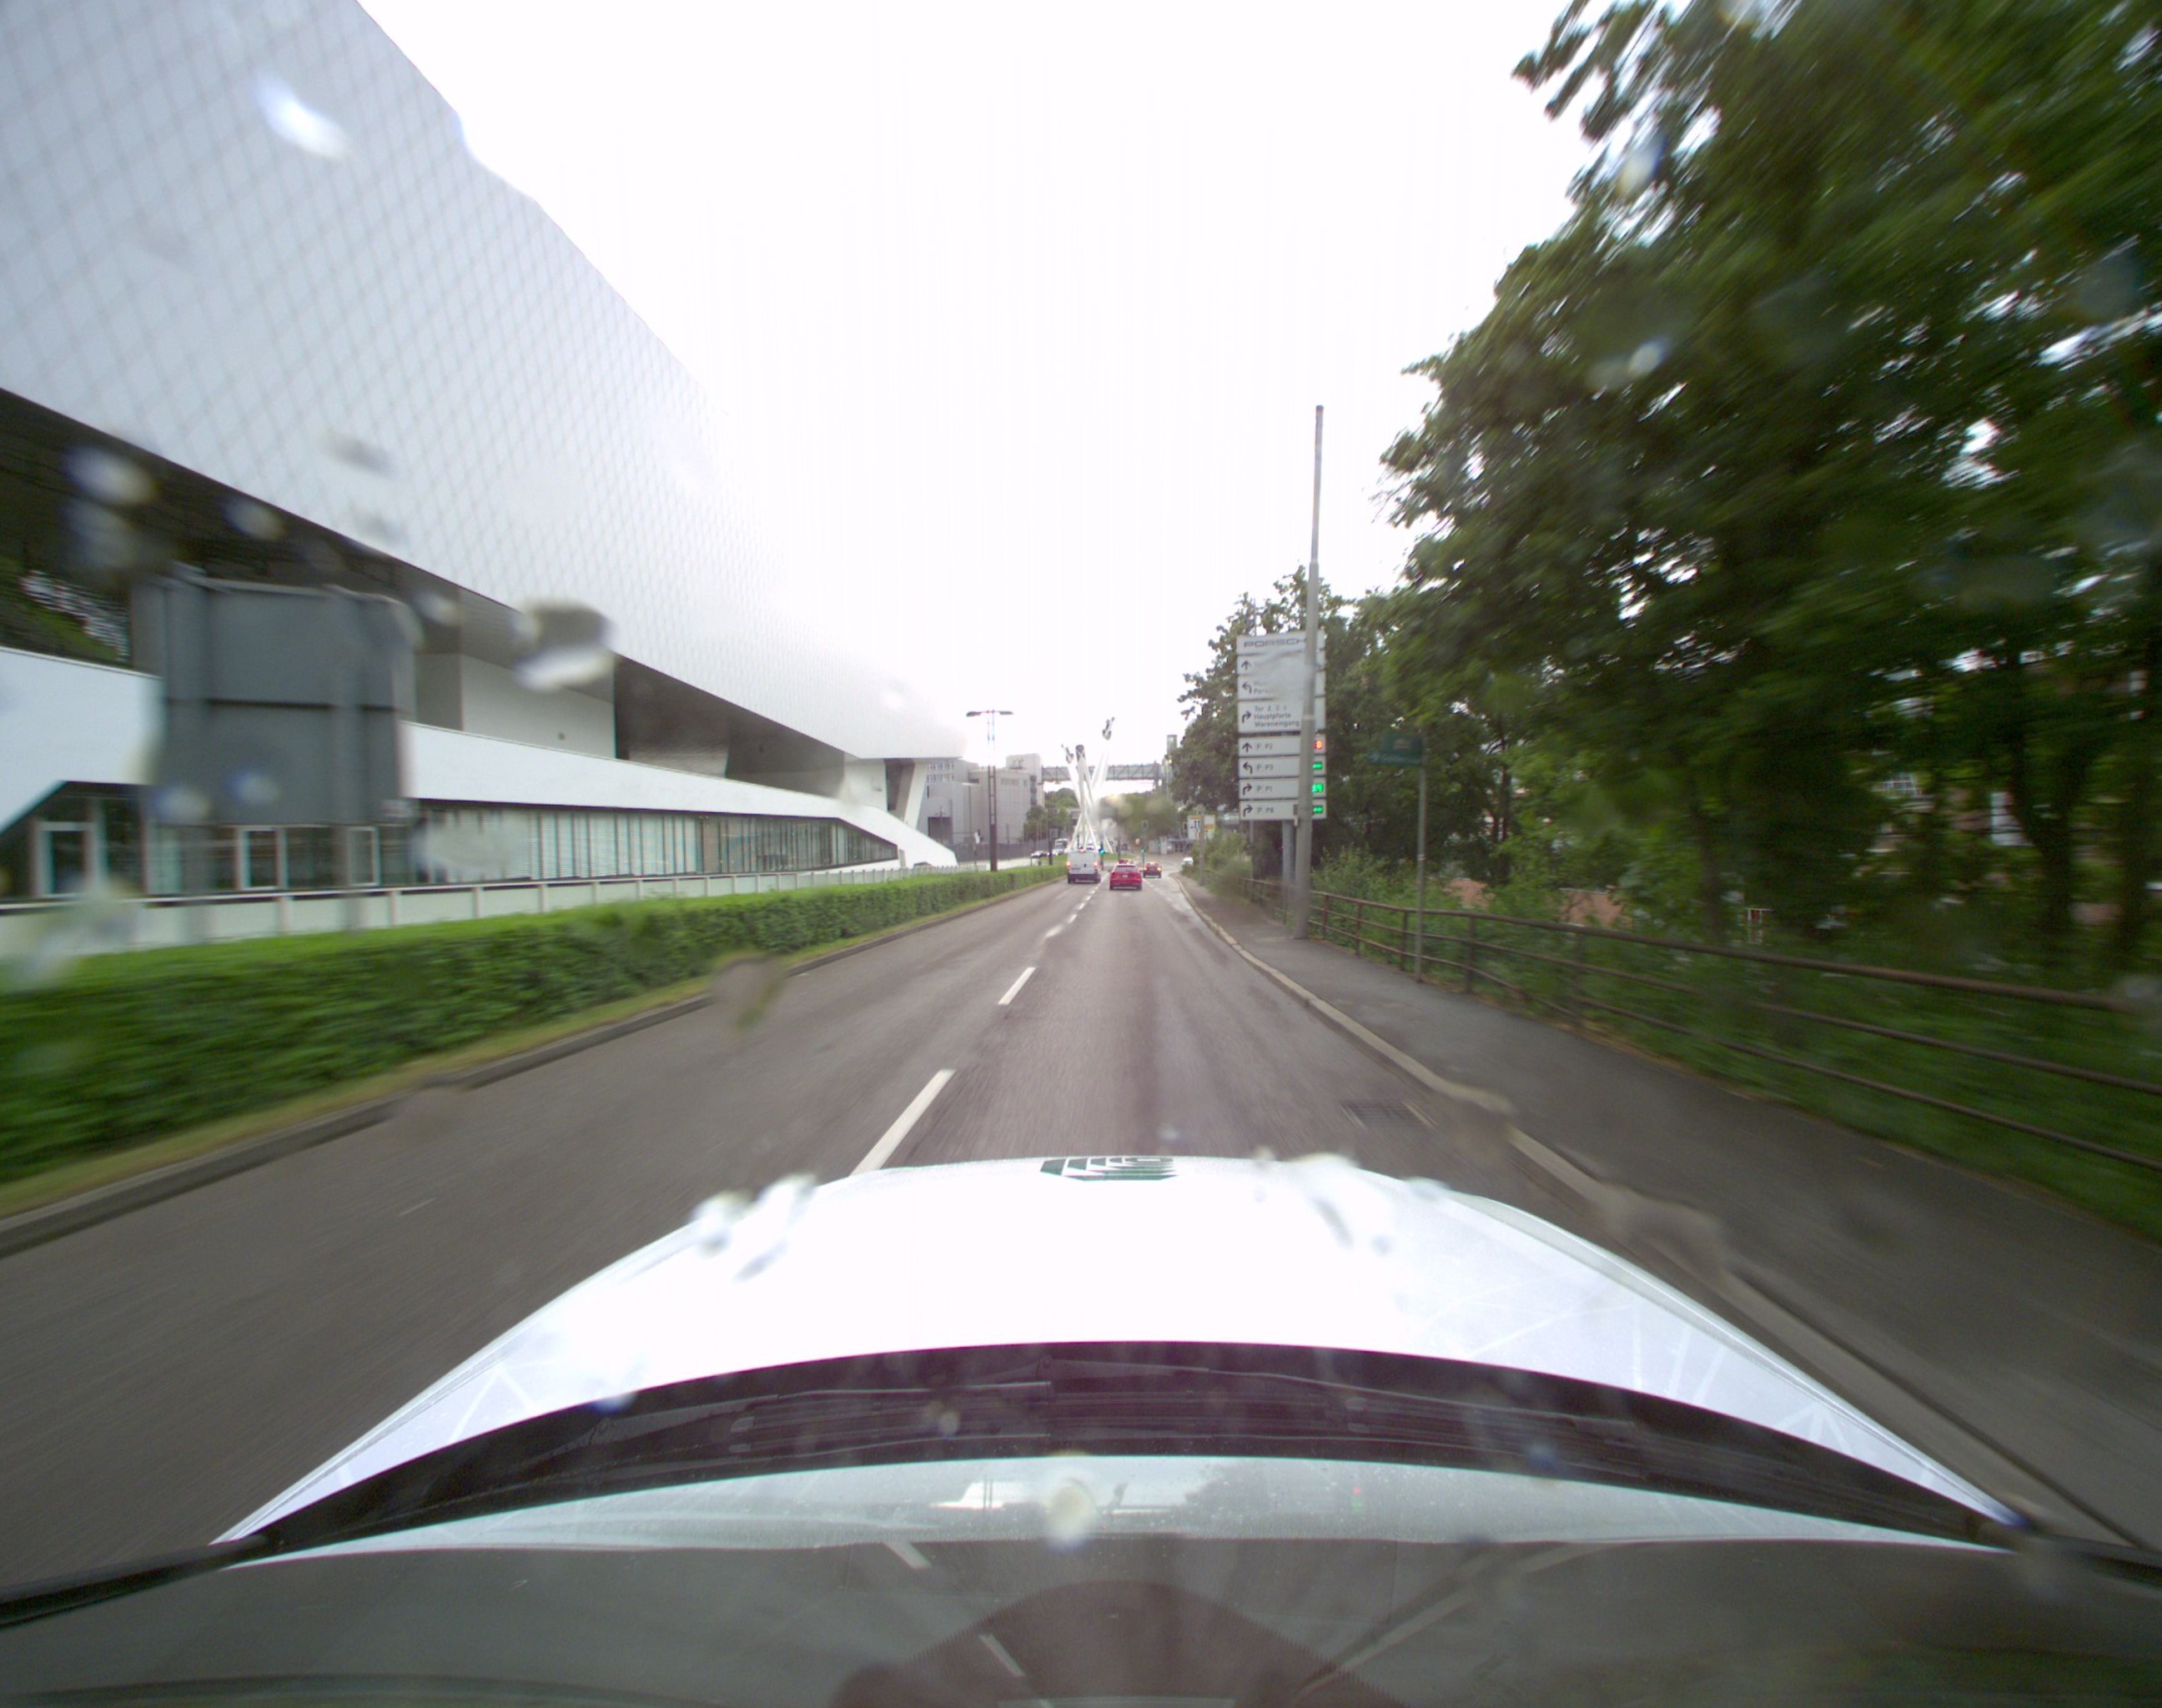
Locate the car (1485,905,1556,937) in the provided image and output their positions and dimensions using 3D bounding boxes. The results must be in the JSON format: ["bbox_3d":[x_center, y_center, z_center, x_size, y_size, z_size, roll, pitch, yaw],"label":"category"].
[{"bbox_3d":[25.250,3.838,46.939,1.697,1.486,3.846,0,0,-8],"label":"car"}]

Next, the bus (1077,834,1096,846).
[{"bbox_3d":[1.618,-3.917,231.475,2.650,3.201,12.718,0,0,14],"label":"bus"}]

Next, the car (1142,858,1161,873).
[{"bbox_3d":[6.460,1.056,75.246,1.604,1.291,3.568,0,-1,3],"label":"car"}]

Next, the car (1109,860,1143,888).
[{"bbox_3d":[2.463,1.052,44.469,1.765,1.464,3.735,0,-1,3],"label":"car"}]

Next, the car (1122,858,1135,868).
[{"bbox_3d":[6.085,1.179,104.579,1.551,1.288,3.416,0,-1,3],"label":"car"}]

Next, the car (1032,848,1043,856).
[{"bbox_3d":[-9.075,-0.410,170.782,1.825,1.472,4.519,-1,0,5],"label":"car"}]

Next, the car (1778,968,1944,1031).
[{"bbox_3d":[21.159,3.928,22.129,3.399,1.397,1.510,1,1,-9],"label":"car"}]

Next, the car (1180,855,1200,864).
[{"bbox_3d":[15.792,0.818,117.910,1.652,1.301,3.909,-1,-1,27],"label":"car"}]

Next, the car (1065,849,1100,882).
[{"bbox_3d":[0.130,0.791,56.059,2.224,2.108,4.956,0,-1,2],"label":"car"}]

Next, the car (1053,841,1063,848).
[{"bbox_3d":[-5.404,-2.206,190.319,1.825,1.472,4.519,-1,0,5],"label":"car"}]

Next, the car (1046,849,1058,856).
[{"bbox_3d":[-6.113,-0.364,170.955,1.836,1.338,4.007,-1,0,6],"label":"car"}]

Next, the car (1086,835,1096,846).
[{"bbox_3d":[2.453,-3.241,196.814,1.984,2.447,5.433,-1,0,4],"label":"car"}]
